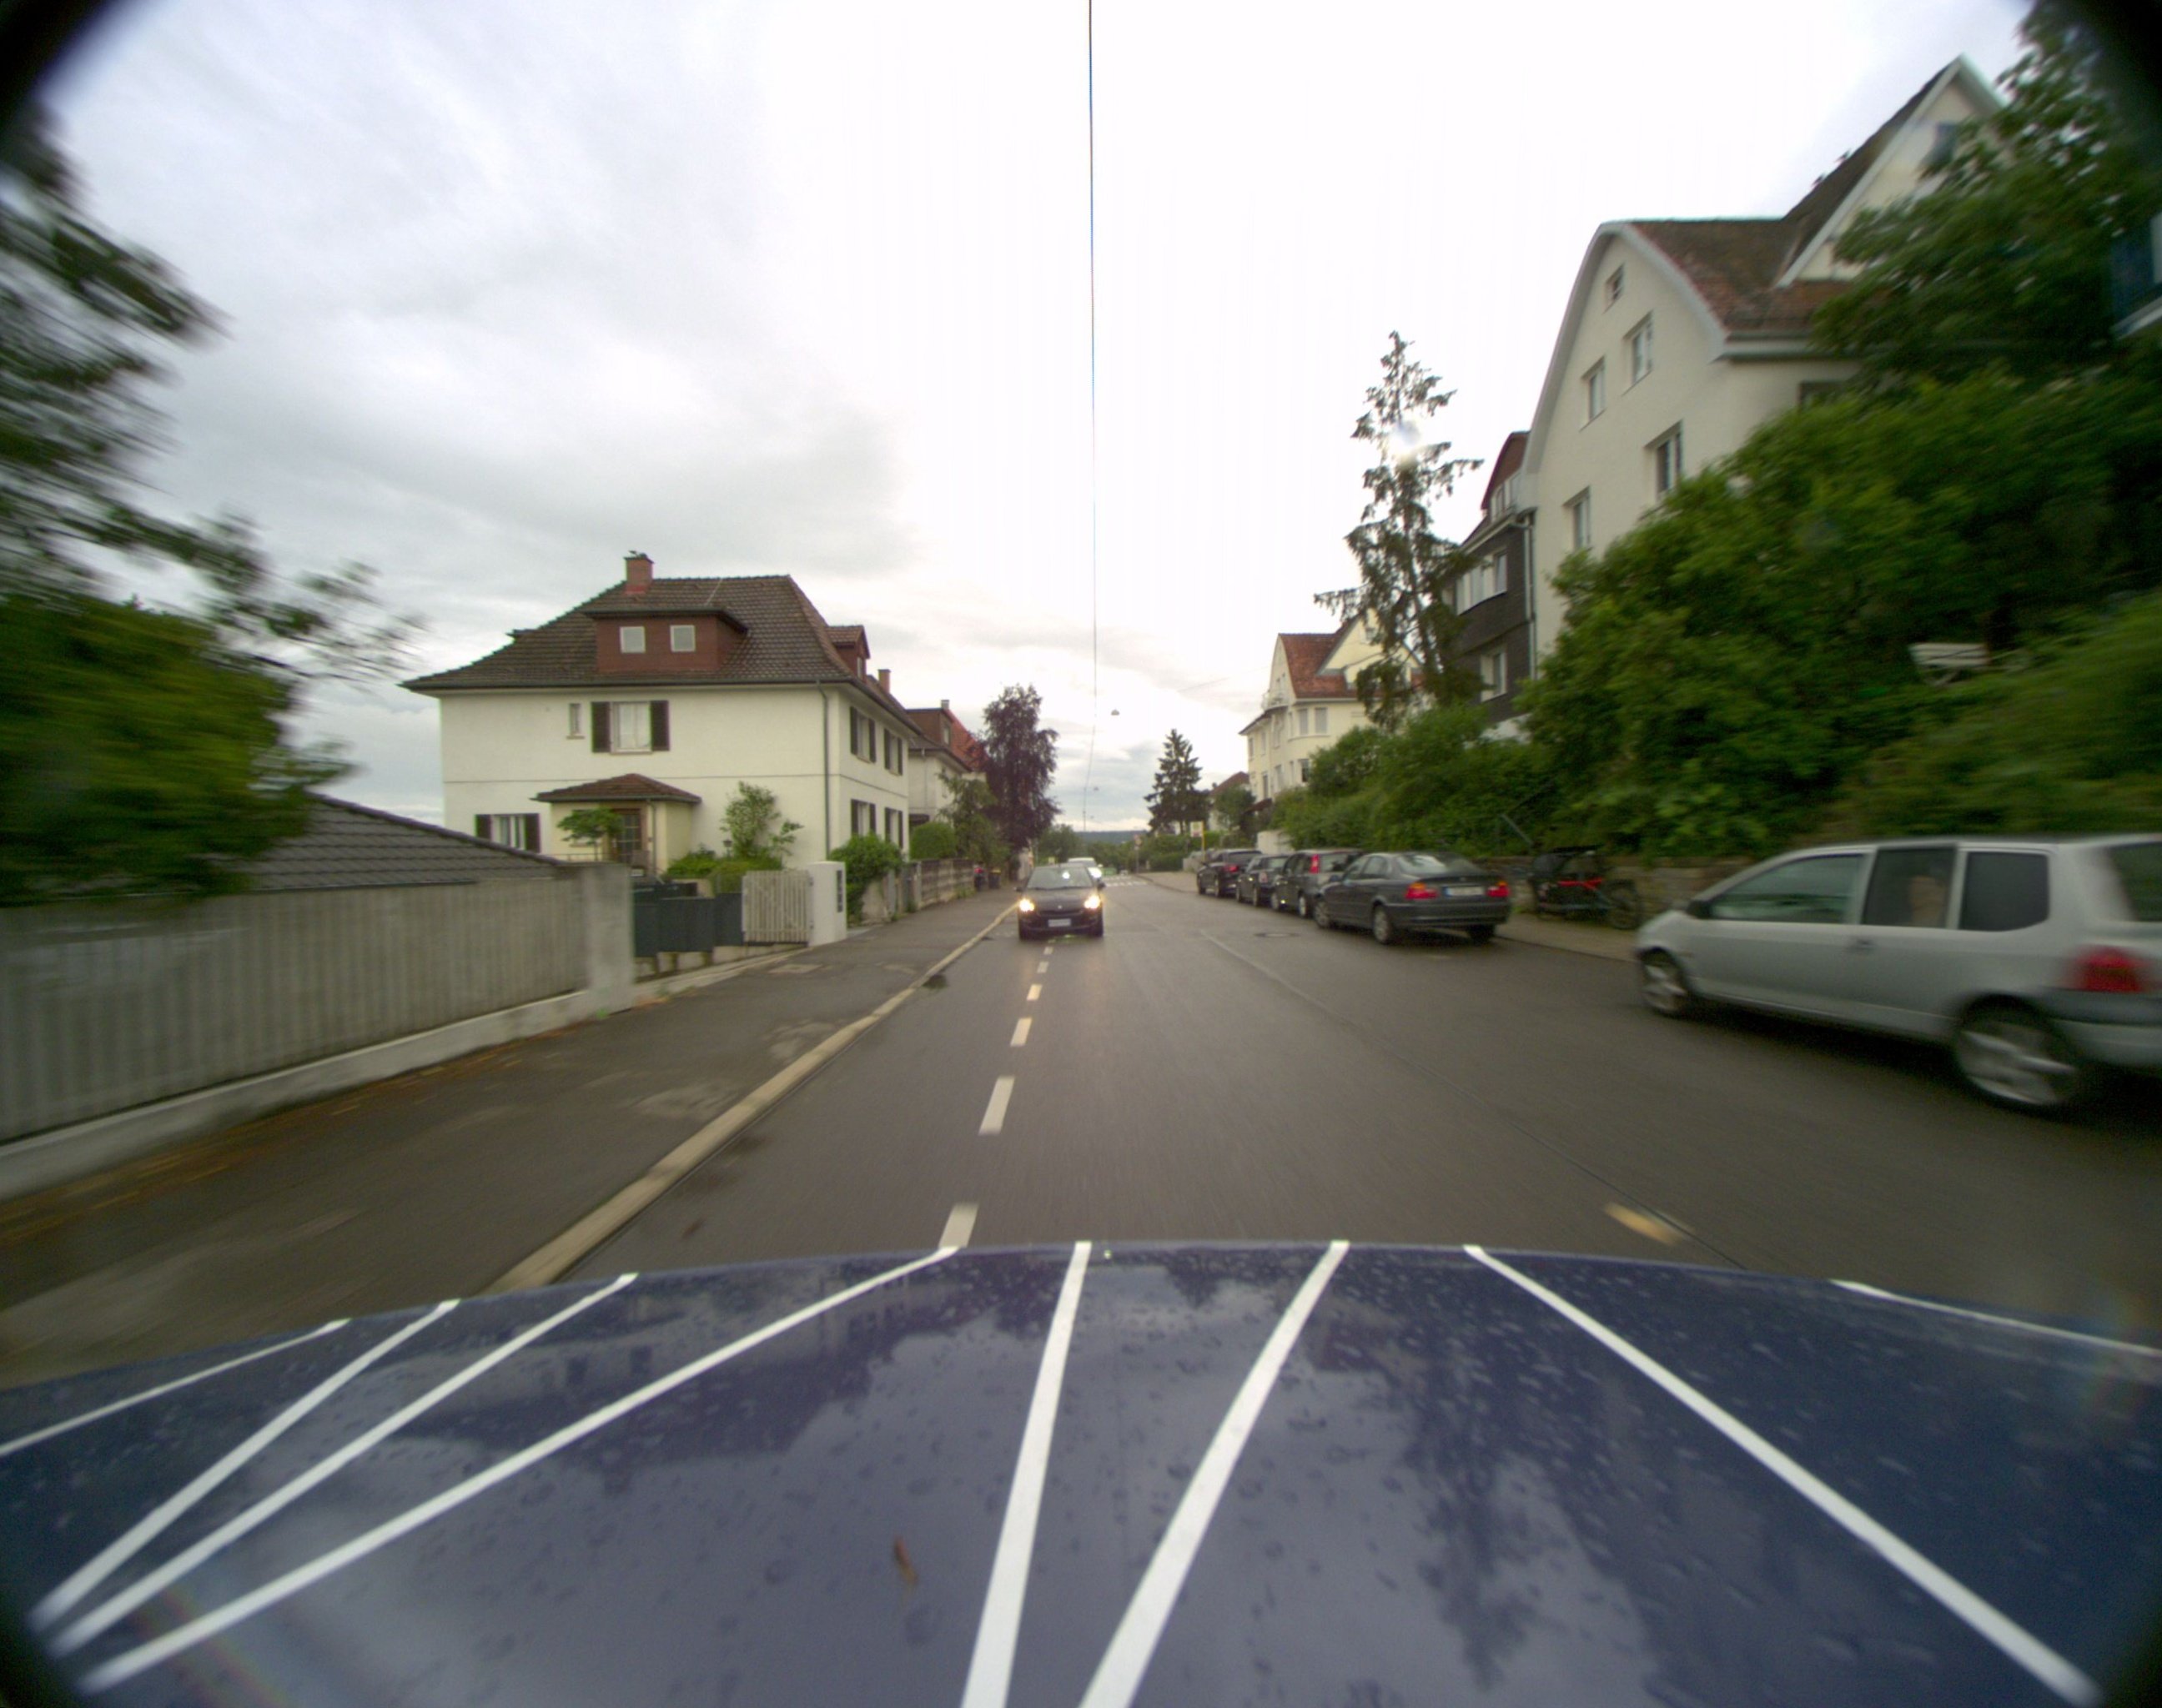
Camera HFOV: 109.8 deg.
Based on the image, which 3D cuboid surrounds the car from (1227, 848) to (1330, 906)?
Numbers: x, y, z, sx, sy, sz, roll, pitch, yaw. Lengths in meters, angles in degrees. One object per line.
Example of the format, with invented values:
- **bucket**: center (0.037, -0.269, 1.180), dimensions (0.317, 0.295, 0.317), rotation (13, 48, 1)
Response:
- **car**: center (5.578, 0.656, 21.964), dimensions (1.898, 1.438, 3.814), rotation (-3, -1, 0)

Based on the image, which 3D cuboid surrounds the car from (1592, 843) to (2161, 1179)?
- **car**: center (5.504, 0.708, 5.063), dimensions (1.650, 1.438, 3.628), rotation (-3, -1, -1)

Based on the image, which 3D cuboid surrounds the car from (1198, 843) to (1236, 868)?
- **car**: center (9.900, 0.128, 55.567), dimensions (1.771, 1.686, 3.999), rotation (-3, -1, -4)

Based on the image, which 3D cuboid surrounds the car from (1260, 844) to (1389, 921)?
- **car**: center (5.539, 0.591, 17.773), dimensions (1.701, 1.532, 3.813), rotation (-3, 0, -1)

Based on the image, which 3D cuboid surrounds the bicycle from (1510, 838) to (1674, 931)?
- **bicycle**: center (8.004, 0.468, 12.091), dimensions (1.006, 1.293, 2.291), rotation (-3, -1, 0)

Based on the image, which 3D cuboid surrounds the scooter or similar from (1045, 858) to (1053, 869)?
- **scooter or similar**: center (-4.183, 1.178, 98.194), dimensions (0.355, 1.394, 1.481), rotation (-3, -1, 24)

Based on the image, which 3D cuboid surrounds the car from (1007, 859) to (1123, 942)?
- **car**: center (-0.209, 0.902, 16.235), dimensions (1.710, 1.414, 4.002), rotation (-3, 0, 9)

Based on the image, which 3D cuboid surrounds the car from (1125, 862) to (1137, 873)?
- **car**: center (7.628, 2.055, 115.711), dimensions (1.594, 1.482, 3.438), rotation (-4, -2, 1)

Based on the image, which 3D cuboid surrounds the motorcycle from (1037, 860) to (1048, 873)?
- **motorcycle**: center (-3.884, 1.300, 76.937), dimensions (0.694, 1.218, 2.154), rotation (4, -1, 4)

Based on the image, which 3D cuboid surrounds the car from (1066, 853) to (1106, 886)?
- **car**: center (0.256, 0.822, 39.835), dimensions (1.928, 1.577, 4.001), rotation (-3, -1, 0)

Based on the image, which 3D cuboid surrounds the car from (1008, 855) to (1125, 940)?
- **car**: center (-0.175, 0.869, 16.224), dimensions (1.695, 1.482, 3.943), rotation (-4, -2, 9)

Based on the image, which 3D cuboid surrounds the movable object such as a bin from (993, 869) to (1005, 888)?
- **movable object such as a bin**: center (-4.129, 1.227, 38.167), dimensions (0.495, 0.950, 0.503), rotation (-3, -1, -2)

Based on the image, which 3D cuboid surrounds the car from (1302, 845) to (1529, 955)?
- **car**: center (5.296, 0.693, 12.784), dimensions (1.760, 1.438, 4.417), rotation (-3, -1, -1)

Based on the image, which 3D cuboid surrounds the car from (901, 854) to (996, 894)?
- **car**: center (-6.080, 0.932, 35.238), dimensions (3.997, 1.630, 1.919), rotation (-3, -1, 0)

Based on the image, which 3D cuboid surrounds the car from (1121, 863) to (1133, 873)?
- **car**: center (7.786, 2.382, 128.994), dimensions (1.868, 1.491, 4.002), rotation (-3, -1, 3)

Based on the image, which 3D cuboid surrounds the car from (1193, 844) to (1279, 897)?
- **car**: center (5.359, 0.534, 26.843), dimensions (1.898, 1.613, 4.377), rotation (-3, 0, -3)
